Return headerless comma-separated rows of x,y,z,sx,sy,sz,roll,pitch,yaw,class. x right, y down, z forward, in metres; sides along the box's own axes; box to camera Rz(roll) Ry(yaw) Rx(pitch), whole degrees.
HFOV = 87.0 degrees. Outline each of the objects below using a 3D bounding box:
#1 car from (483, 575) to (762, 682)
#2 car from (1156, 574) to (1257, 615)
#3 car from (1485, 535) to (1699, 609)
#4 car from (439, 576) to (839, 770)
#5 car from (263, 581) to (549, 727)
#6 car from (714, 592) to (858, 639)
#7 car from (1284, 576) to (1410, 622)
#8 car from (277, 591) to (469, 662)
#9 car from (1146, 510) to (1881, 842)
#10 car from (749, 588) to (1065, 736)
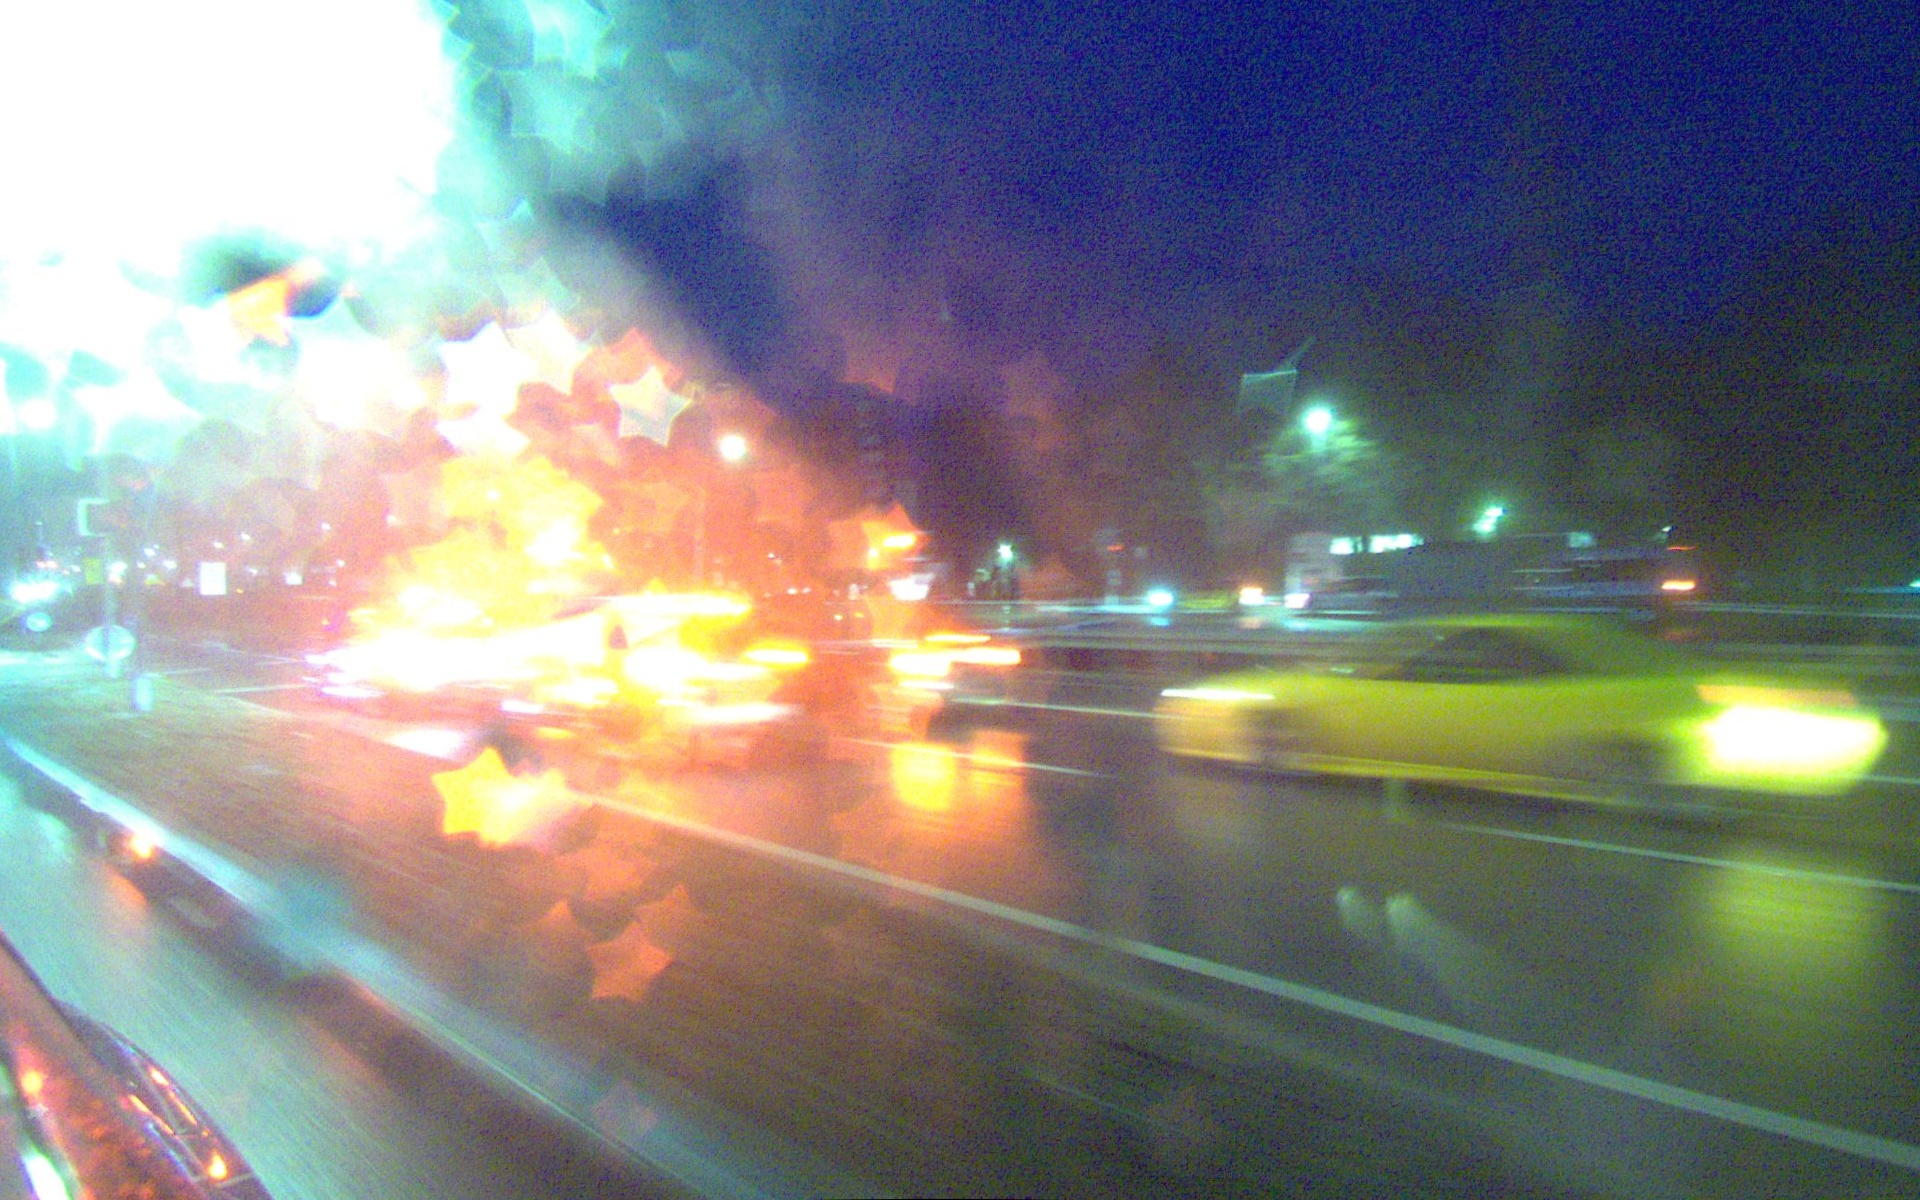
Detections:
-5.960,0.435,17.523,5.157,1.568,2.334,-1,1,42,car
10.220,-0.237,42.179,3.960,1.603,1.992,-1,0,13,car
21.849,-0.897,35.220,6.023,2.325,1.971,-1,1,44,car
-3.482,0.576,10.531,4.465,1.582,1.936,0,2,41,car
-8.027,0.617,14.423,5.010,1.710,1.973,0,2,41,car
-5.811,0.470,33.948,4.427,1.375,1.672,-2,1,-27,car
15.377,-0.029,40.249,4.432,1.706,1.832,-1,1,31,car
-16.705,0.724,29.066,4.446,1.858,2.006,-1,0,-18,car
3.873,0.404,7.648,4.500,1.759,1.971,-1,1,44,car
-0.730,0.626,12.221,3.601,1.463,1.803,0,2,43,car
